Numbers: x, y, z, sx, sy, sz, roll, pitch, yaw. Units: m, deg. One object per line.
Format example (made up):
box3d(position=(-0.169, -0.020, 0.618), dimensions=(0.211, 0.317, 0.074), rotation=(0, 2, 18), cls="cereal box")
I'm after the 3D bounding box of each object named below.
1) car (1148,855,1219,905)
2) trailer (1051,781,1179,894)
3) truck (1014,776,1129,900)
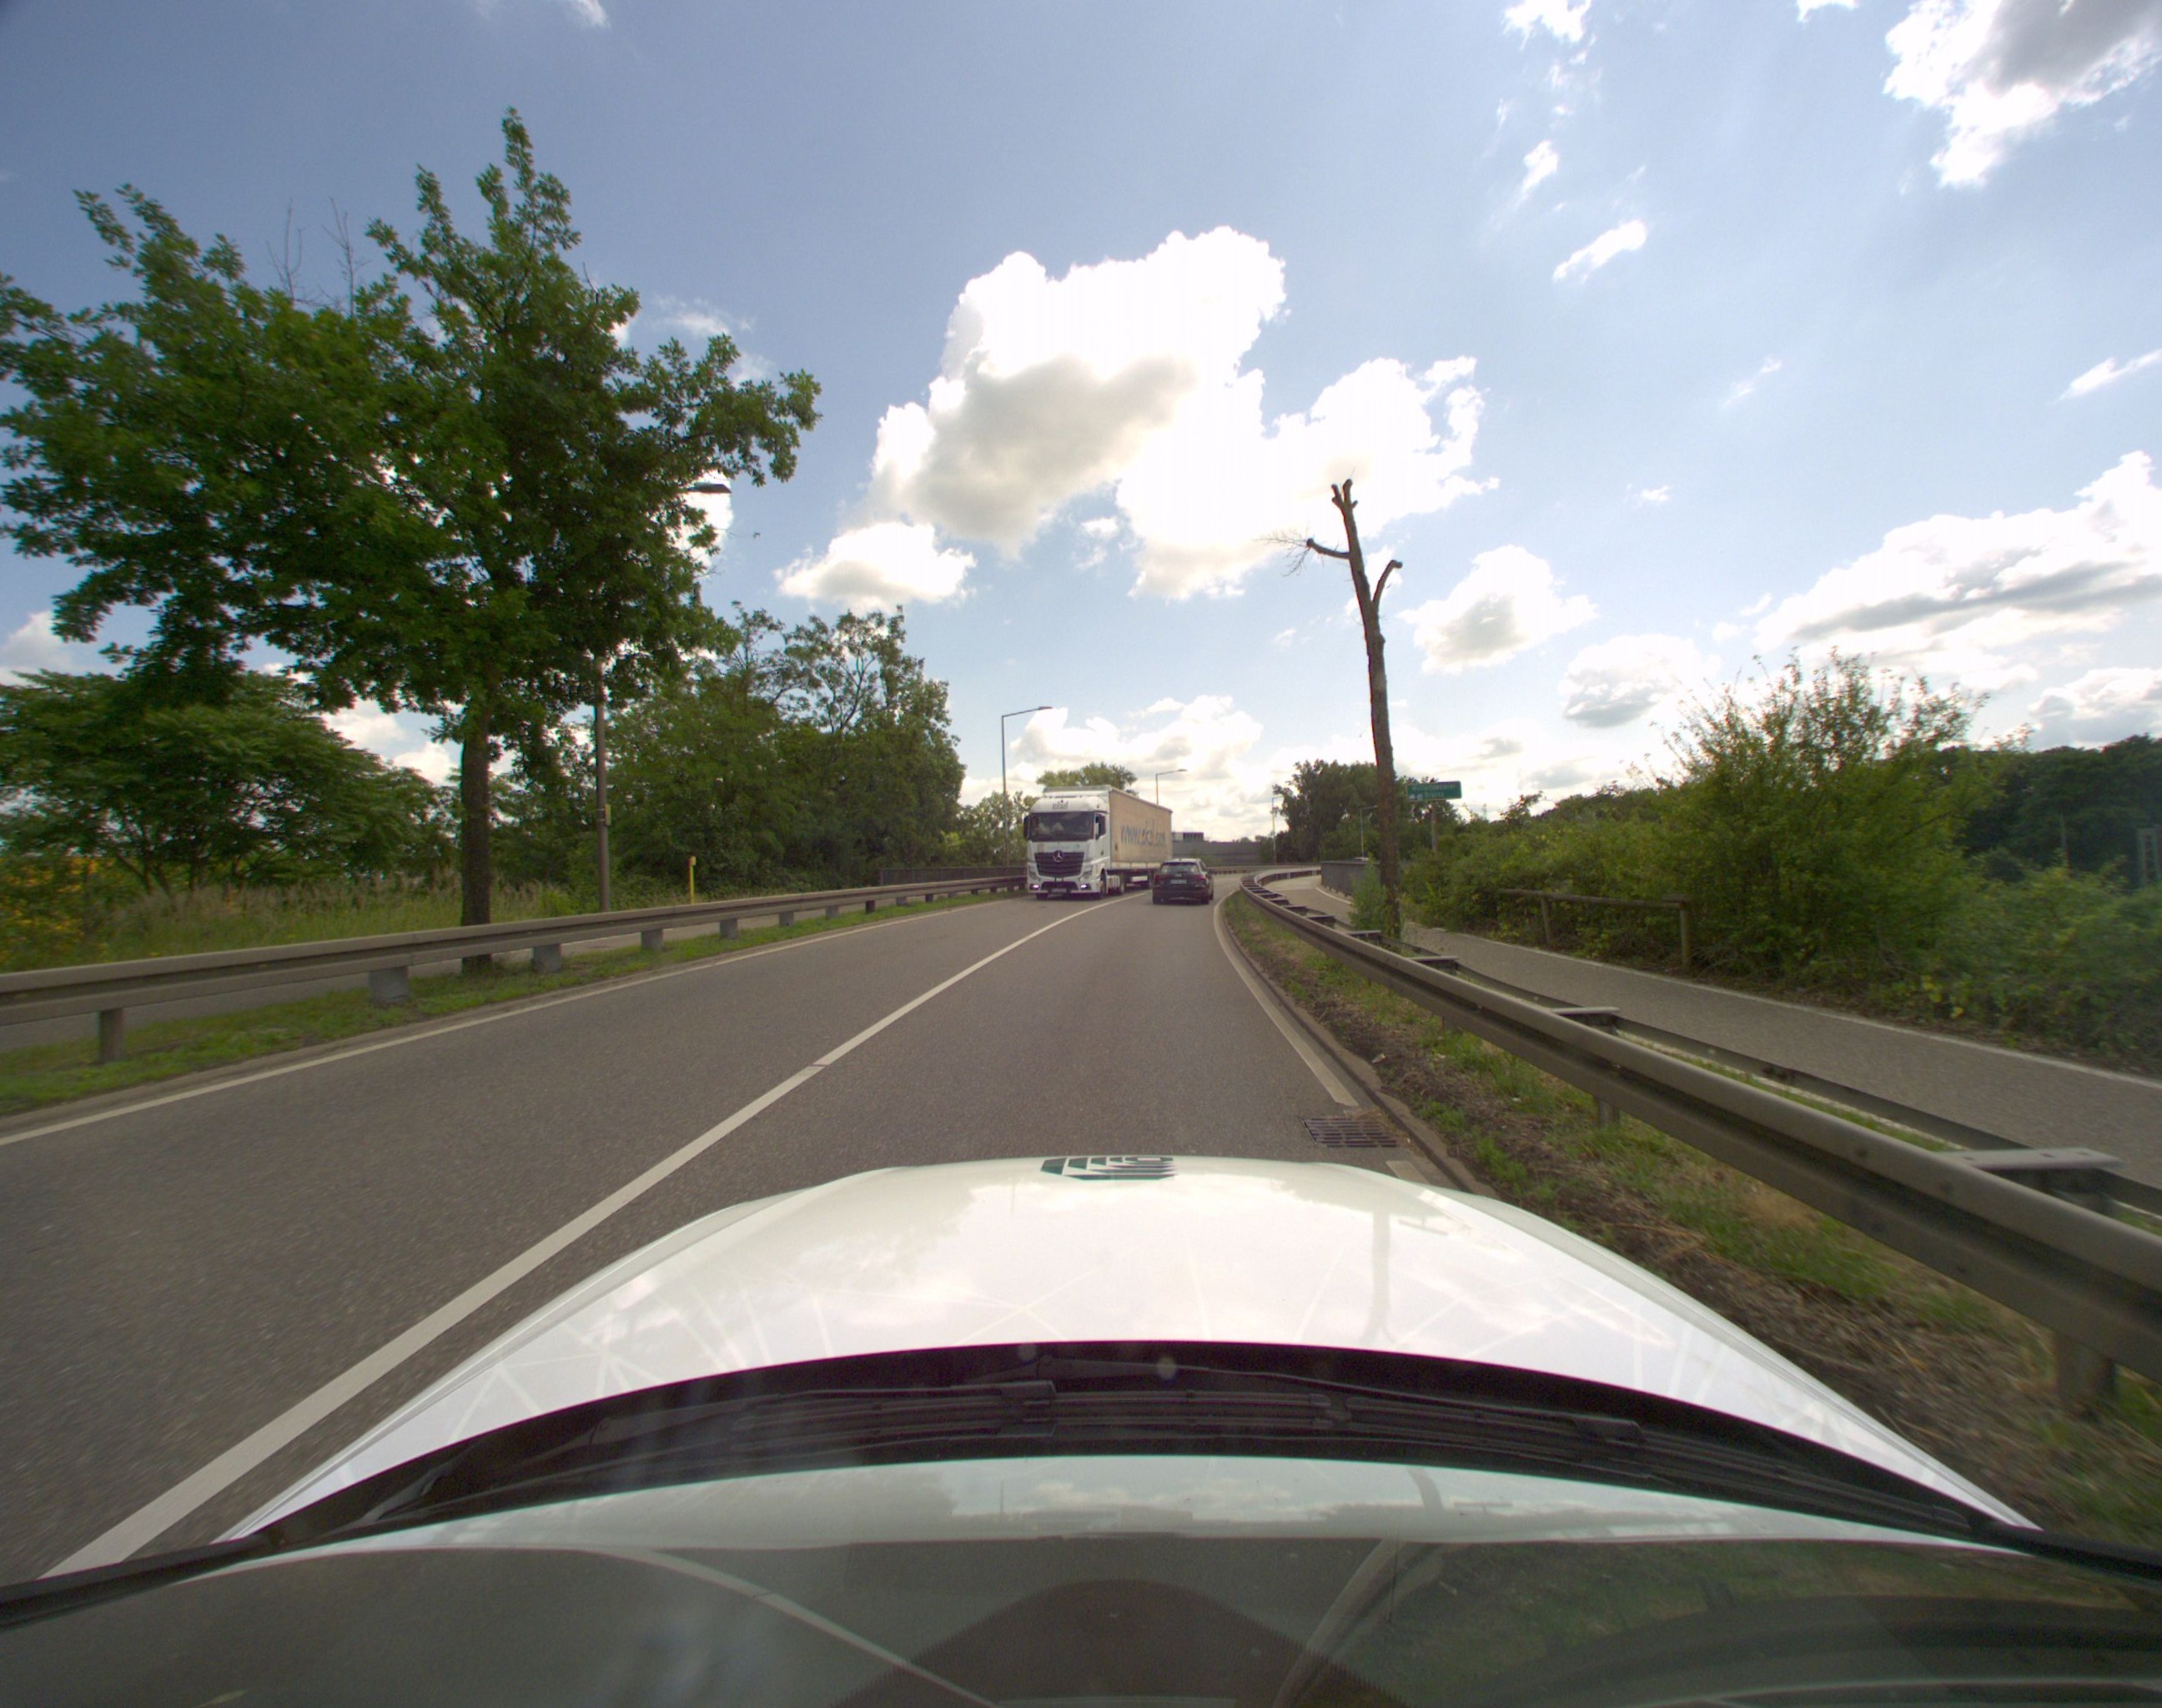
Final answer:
box3d(position=(3.467, 0.785, 26.968), dimensions=(1.815, 1.491, 4.223), rotation=(0, 0, 14), cls="car")
box3d(position=(2.108, -0.577, 38.237), dimensions=(2.686, 4.280, 14.291), rotation=(0, 0, 16), cls="trailer")
box3d(position=(-0.183, -0.506, 30.204), dimensions=(2.740, 4.135, 5.677), rotation=(0, -1, 16), cls="truck")
